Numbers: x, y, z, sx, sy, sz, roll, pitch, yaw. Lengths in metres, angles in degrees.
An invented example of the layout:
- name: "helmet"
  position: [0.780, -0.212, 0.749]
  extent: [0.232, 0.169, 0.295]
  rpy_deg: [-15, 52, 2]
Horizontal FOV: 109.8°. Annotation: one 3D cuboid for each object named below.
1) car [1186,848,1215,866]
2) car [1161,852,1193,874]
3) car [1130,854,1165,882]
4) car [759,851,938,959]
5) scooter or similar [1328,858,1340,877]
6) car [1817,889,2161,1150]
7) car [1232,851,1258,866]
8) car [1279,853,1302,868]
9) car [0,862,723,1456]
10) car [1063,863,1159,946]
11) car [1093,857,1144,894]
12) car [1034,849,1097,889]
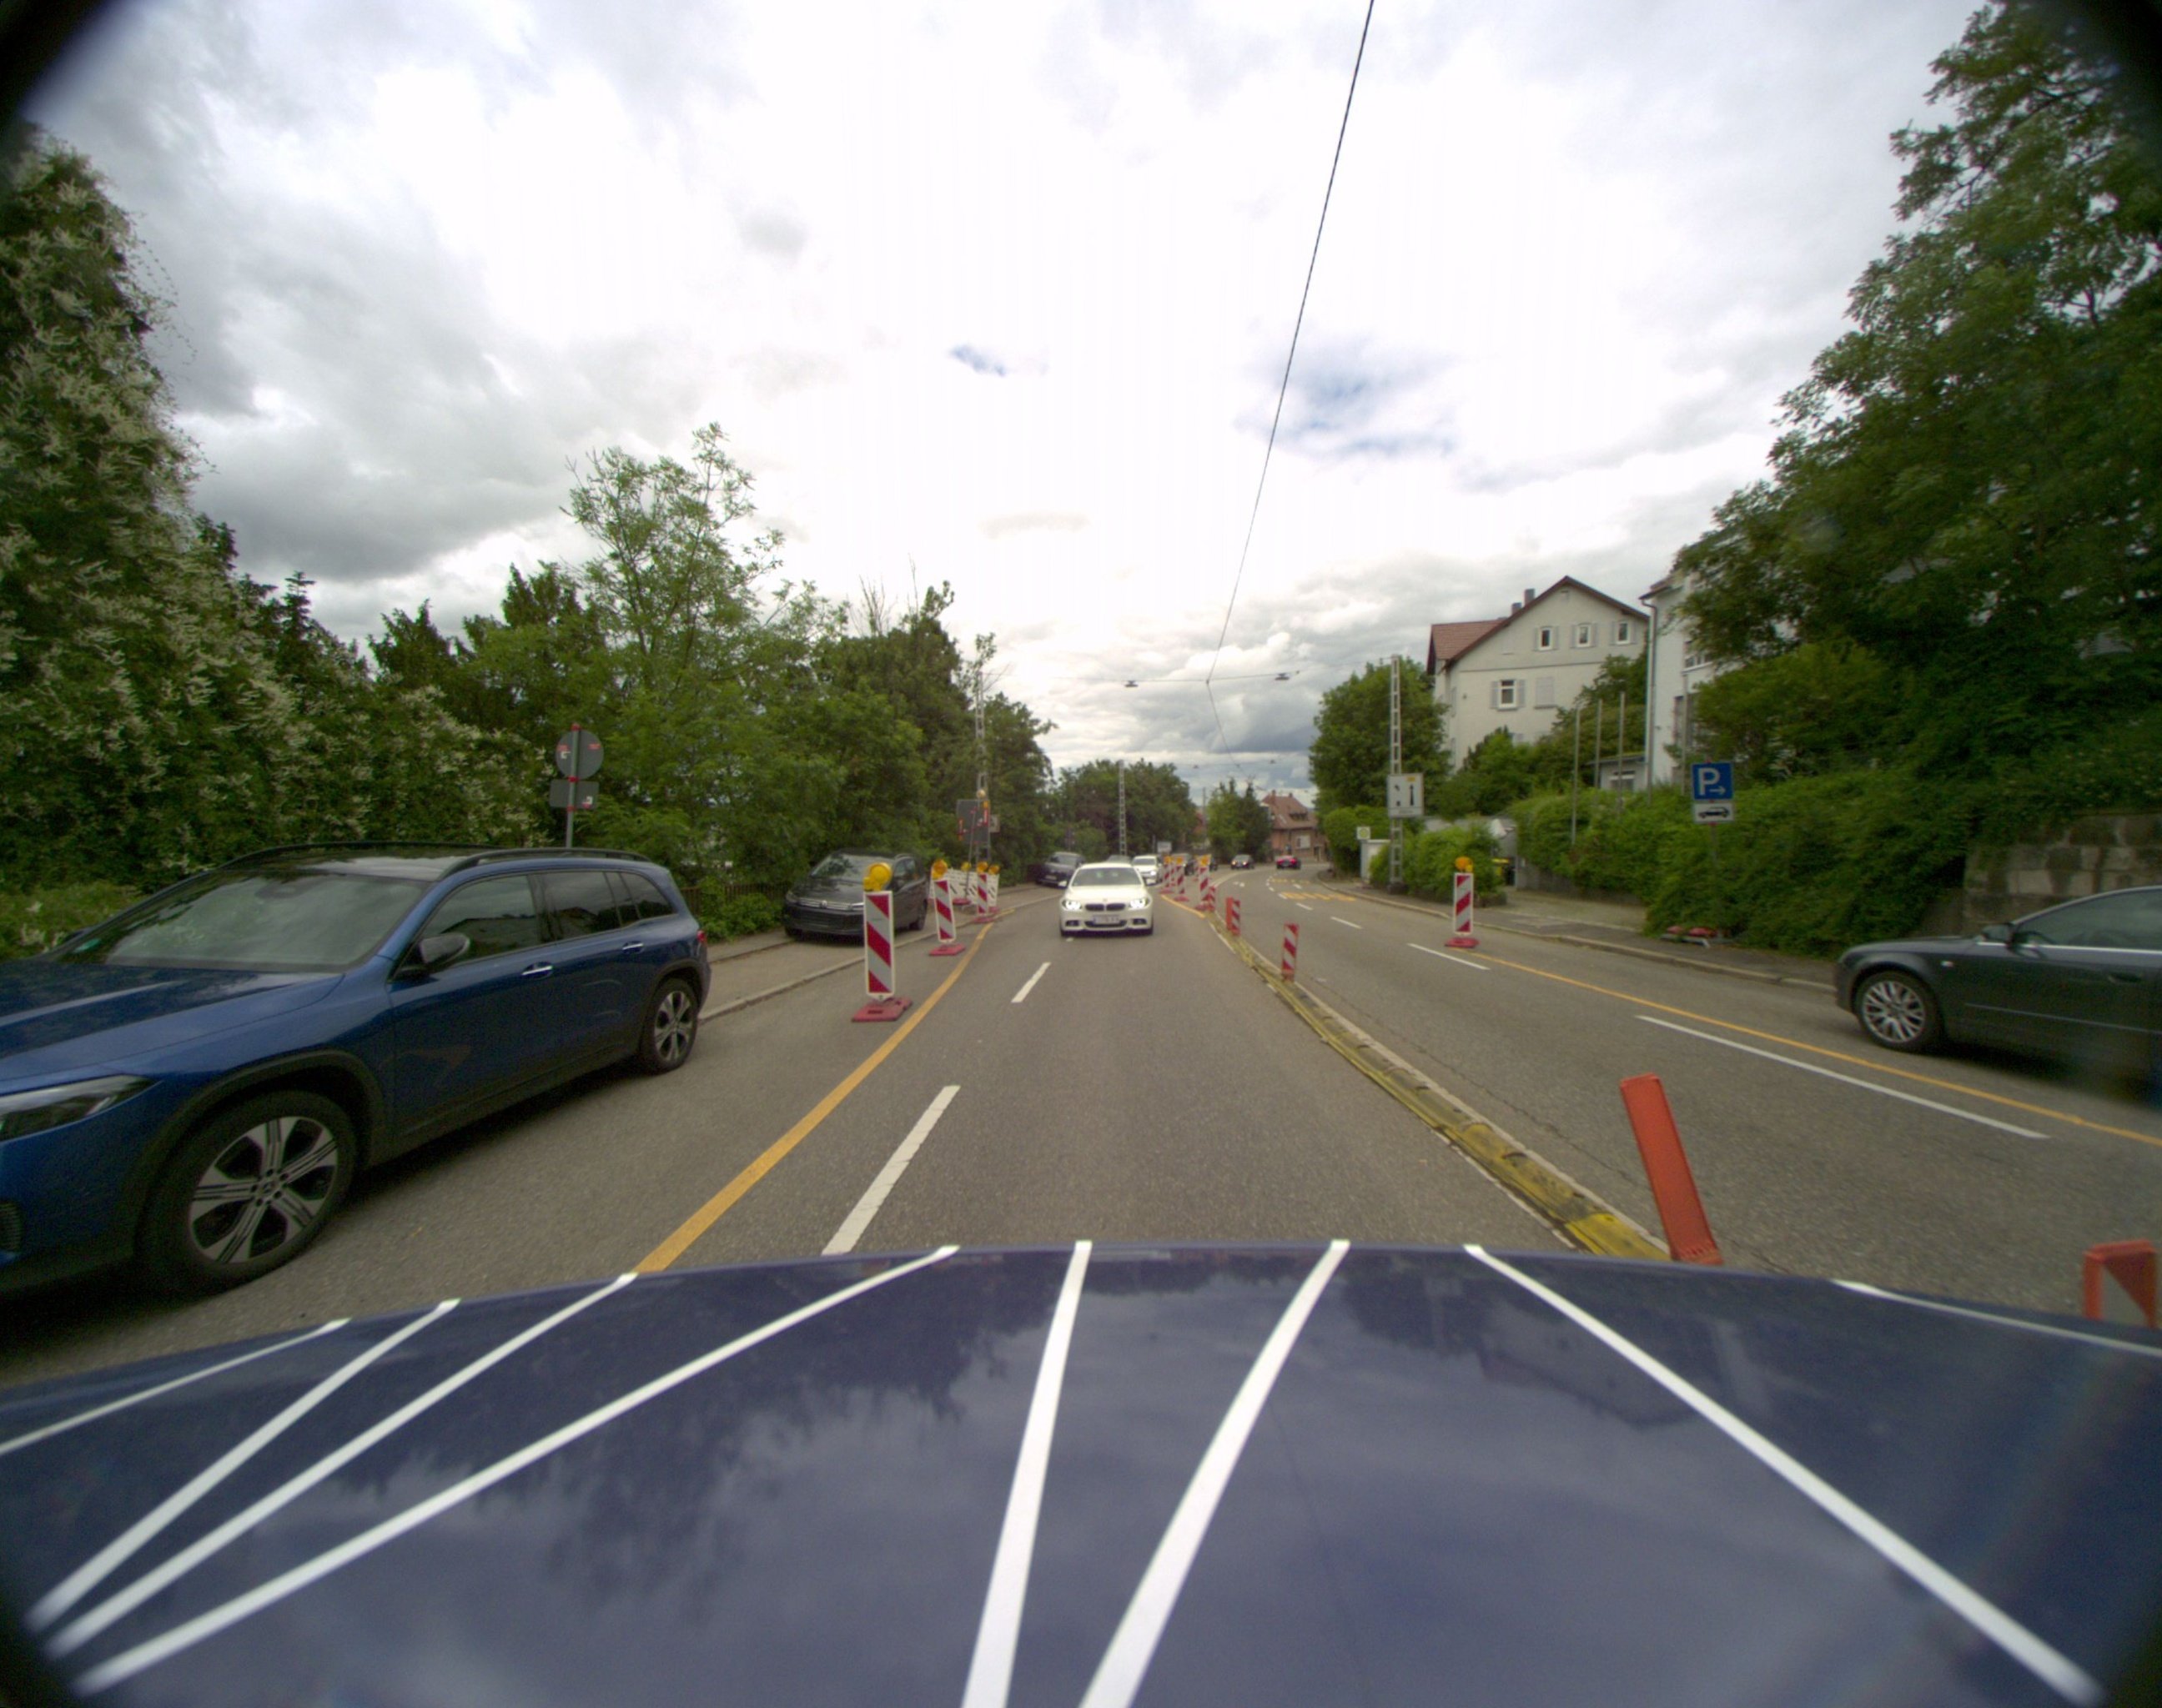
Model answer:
- name: "car"
  position: [10.456, 0.243, 66.138]
  extent: [1.796, 1.501, 4.005]
  rpy_deg: [-1, 1, 19]
- name: "car"
  position: [7.212, 0.631, 56.998]
  extent: [1.796, 1.501, 4.005]
  rpy_deg: [1, 1, 16]
- name: "car"
  position: [3.914, 0.786, 44.189]
  extent: [1.791, 1.542, 4.247]
  rpy_deg: [-1, 0, 8]
- name: "car"
  position: [-4.358, 0.851, 15.116]
  extent: [1.866, 1.664, 4.647]
  rpy_deg: [4, 1, 2]
- name: "scooter or similar"
  position: [16.752, 0.860, 50.291]
  extent: [0.429, 1.202, 1.282]
  rpy_deg: [-3, 0, 5]
- name: "car"
  position: [6.975, 0.995, 4.148]
  extent: [1.803, 1.365, 4.389]
  rpy_deg: [1, 0, 4]
- name: "car"
  position: [16.194, 0.419, 74.980]
  extent: [1.789, 1.472, 4.251]
  rpy_deg: [-1, 0, 21]
- name: "car"
  position: [21.415, 0.629, 77.671]
  extent: [1.822, 1.383, 4.444]
  rpy_deg: [1, 1, 20]
- name: "car"
  position: [-4.014, 0.922, 4.135]
  extent: [1.844, 1.633, 4.503]
  rpy_deg: [2, 0, 2]
- name: "car"
  position: [0.565, 0.972, 16.480]
  extent: [1.792, 1.472, 4.244]
  rpy_deg: [-1, 0, 0]
- name: "car"
  position: [1.719, 0.893, 33.468]
  extent: [1.791, 1.472, 4.247]
  rpy_deg: [-1, 0, 9]
- name: "car"
  position: [-0.686, 0.668, 37.085]
  extent: [1.855, 1.664, 4.283]
  rpy_deg: [5, 2, 14]
